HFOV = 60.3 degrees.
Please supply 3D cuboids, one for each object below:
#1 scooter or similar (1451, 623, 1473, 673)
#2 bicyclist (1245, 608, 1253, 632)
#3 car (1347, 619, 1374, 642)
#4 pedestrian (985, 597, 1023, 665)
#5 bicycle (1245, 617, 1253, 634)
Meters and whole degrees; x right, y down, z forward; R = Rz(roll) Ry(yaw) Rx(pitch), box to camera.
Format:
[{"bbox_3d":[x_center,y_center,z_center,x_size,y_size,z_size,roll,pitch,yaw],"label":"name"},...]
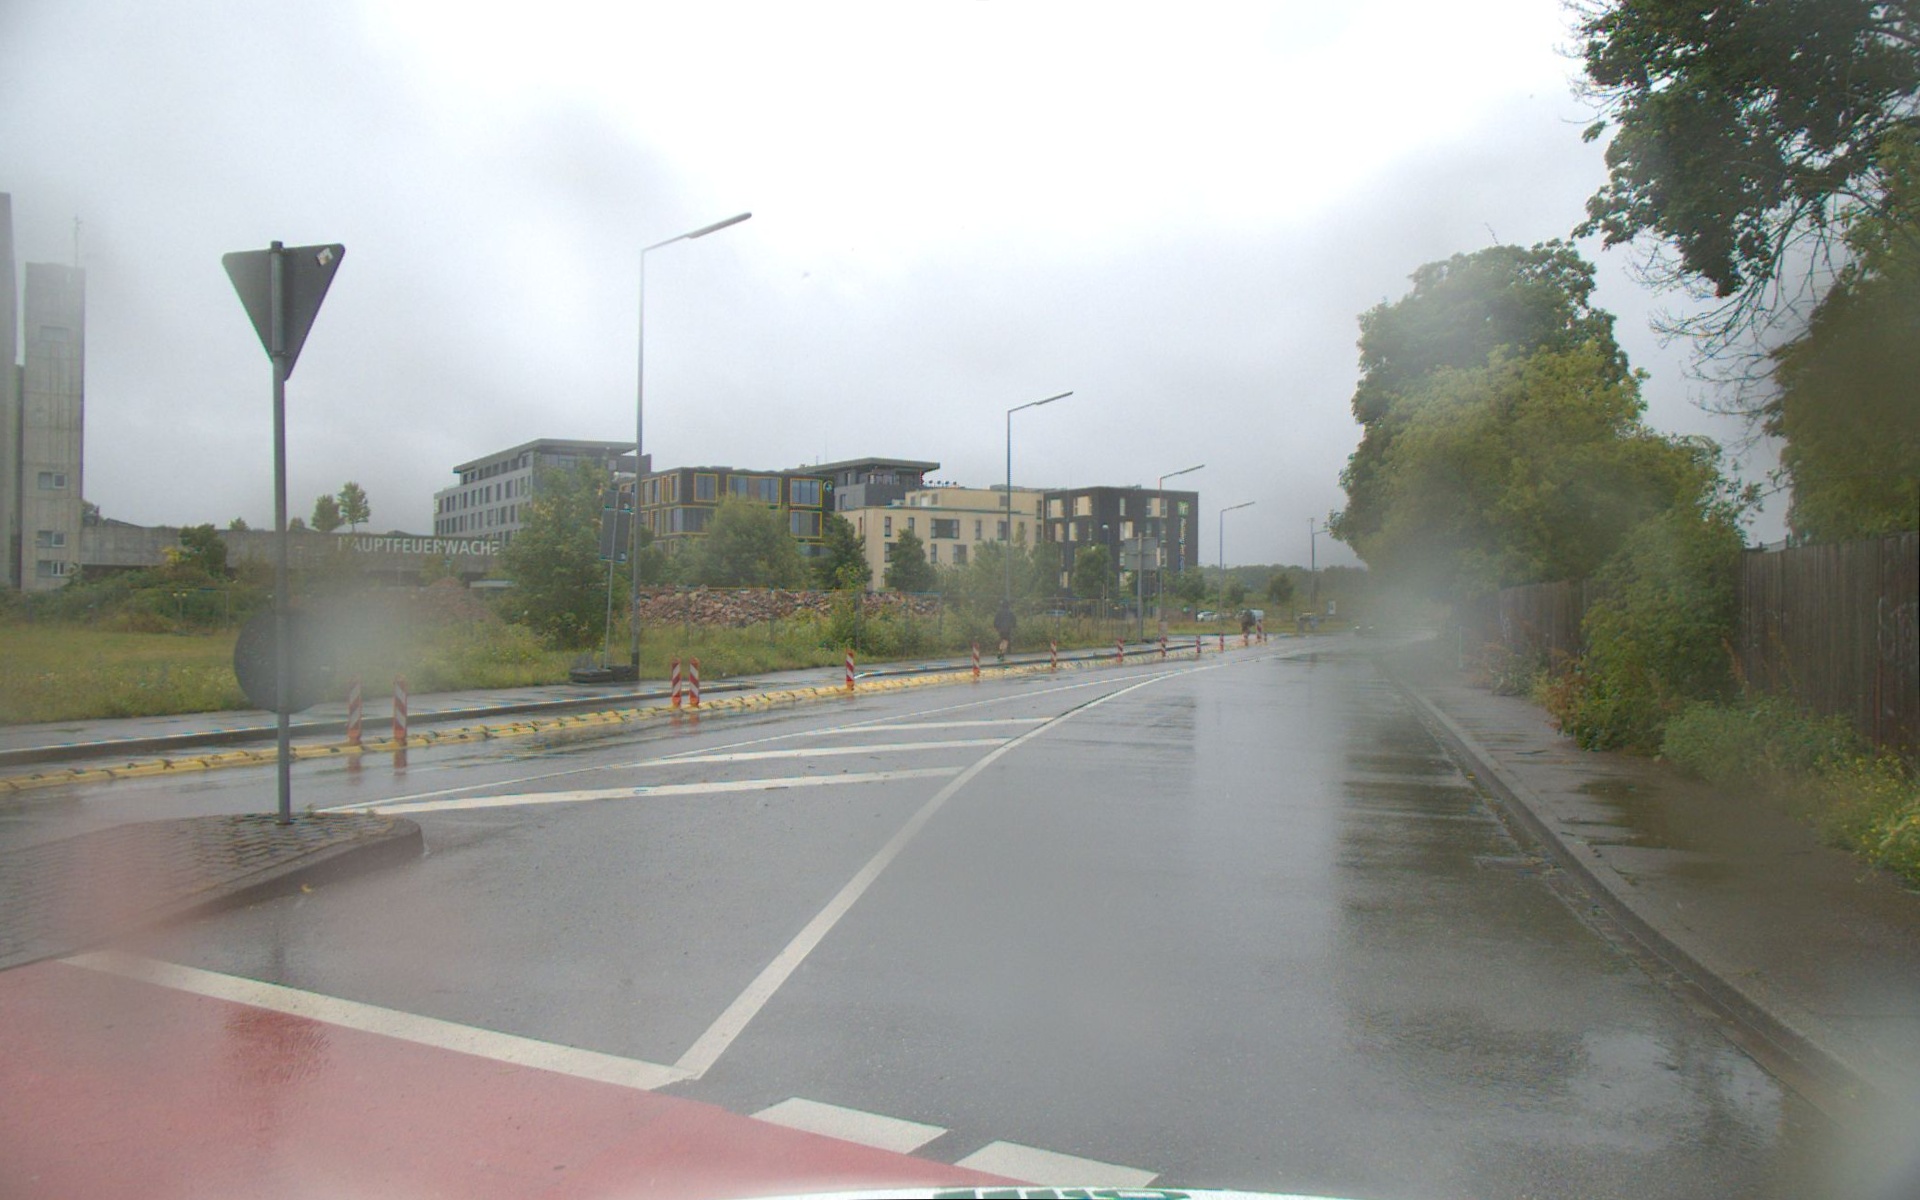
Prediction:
[{"bbox_3d":[12.864,1.233,42.429,0.480,1.256,1.371,0,-1,14],"label":"scooter or similar"},{"bbox_3d":[17.644,1.222,100.880,0.434,1.428,0.550,0,-3,14],"label":"bicyclist"},{"bbox_3d":[32.646,2.492,134.873,1.951,1.803,4.002,0,-1,17],"label":"car"},{"bbox_3d":[1.366,0.967,51.025,0.828,2.049,1.131,0,-3,21],"label":"pedestrian"},{"bbox_3d":[17.615,1.552,100.814,0.418,1.037,1.613,1,-1,12],"label":"bicycle"}]
